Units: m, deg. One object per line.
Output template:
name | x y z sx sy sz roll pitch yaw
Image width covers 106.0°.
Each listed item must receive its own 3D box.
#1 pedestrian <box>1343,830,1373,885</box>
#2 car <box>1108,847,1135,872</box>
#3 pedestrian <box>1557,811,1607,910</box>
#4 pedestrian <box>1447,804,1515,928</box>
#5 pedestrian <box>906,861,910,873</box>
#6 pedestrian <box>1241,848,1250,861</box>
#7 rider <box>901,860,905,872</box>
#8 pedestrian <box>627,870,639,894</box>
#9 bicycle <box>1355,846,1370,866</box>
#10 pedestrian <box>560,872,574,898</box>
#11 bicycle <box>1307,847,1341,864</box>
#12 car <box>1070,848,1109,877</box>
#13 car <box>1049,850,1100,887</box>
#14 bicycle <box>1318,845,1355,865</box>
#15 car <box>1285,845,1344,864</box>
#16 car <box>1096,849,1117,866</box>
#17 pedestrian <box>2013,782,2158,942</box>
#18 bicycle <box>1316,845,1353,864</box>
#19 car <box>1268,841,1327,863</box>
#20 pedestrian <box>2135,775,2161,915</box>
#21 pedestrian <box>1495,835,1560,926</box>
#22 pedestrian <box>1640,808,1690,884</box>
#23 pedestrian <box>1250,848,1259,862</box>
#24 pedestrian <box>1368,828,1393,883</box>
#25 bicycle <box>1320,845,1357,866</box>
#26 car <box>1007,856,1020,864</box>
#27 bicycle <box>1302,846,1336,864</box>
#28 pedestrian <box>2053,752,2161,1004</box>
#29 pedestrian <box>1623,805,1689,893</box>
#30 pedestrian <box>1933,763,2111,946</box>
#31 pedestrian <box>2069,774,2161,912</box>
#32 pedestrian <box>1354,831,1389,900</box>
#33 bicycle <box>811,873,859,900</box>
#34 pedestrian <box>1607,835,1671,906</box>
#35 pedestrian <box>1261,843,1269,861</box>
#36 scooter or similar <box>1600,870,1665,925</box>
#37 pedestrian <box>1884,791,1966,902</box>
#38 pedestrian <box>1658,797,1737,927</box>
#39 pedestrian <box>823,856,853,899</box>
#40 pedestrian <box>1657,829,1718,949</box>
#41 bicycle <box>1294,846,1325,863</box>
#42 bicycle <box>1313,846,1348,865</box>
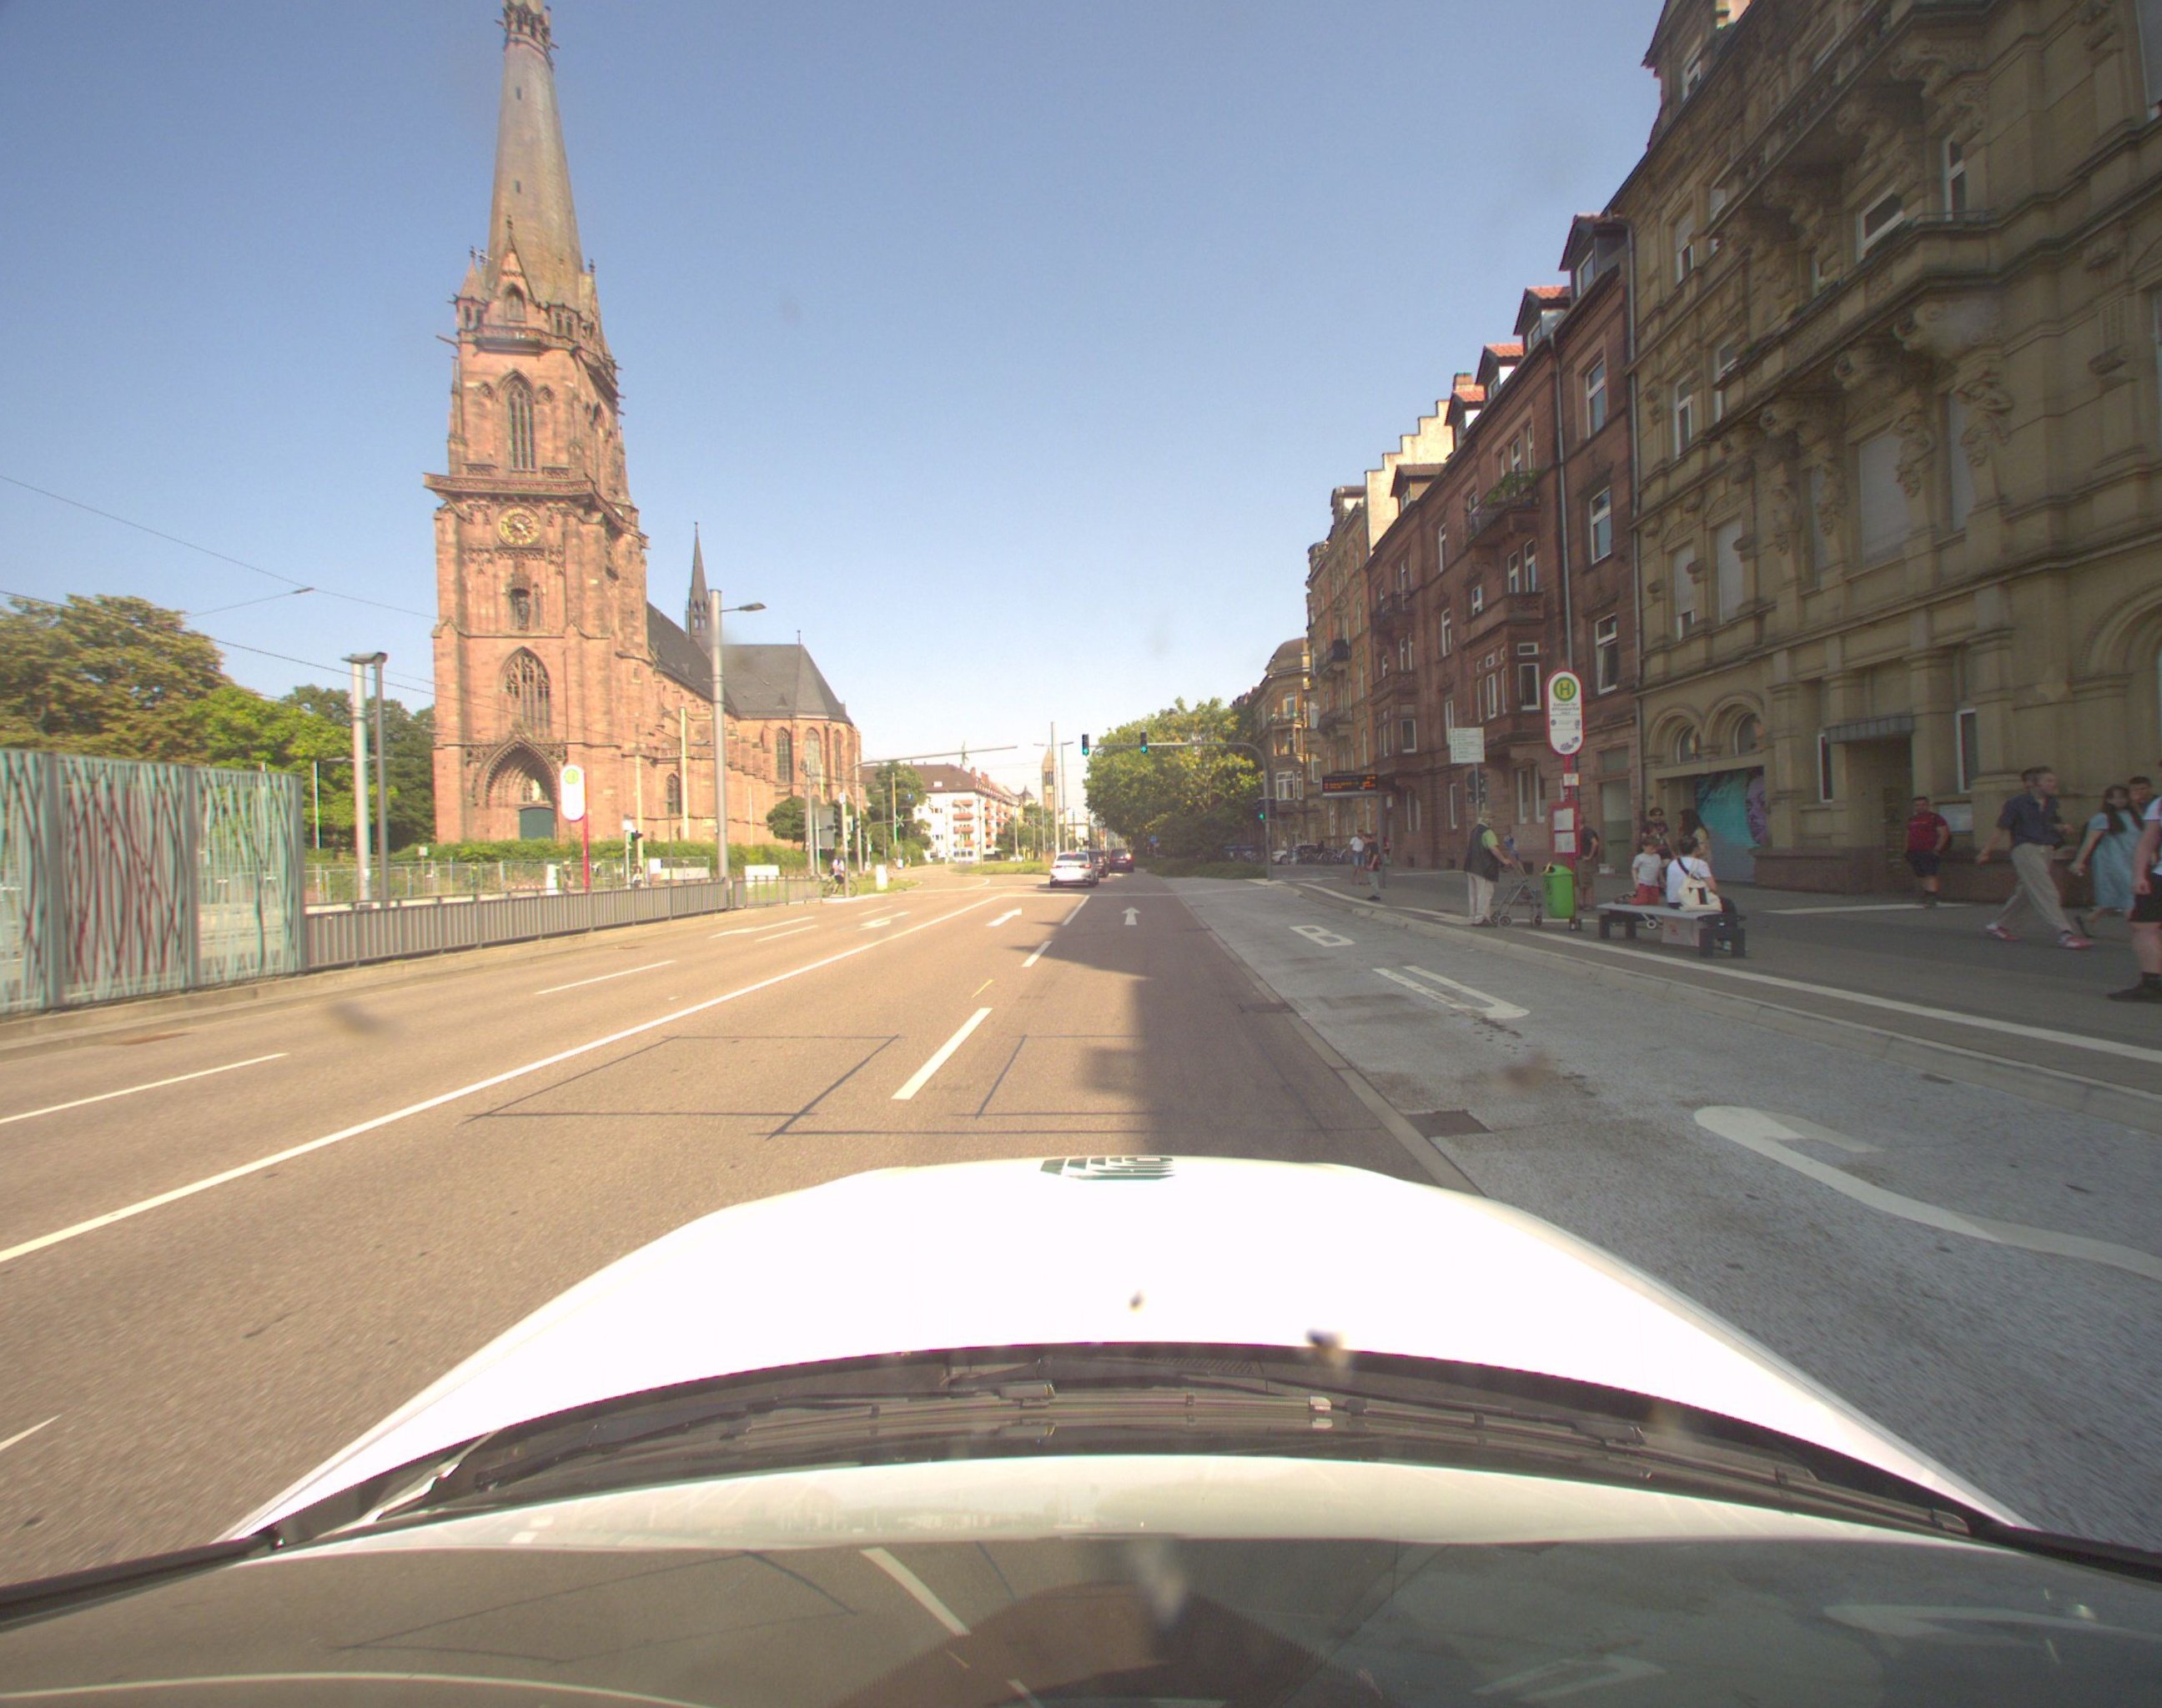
pedestrian | 8.617 0.111 25.391 0.687 1.664 0.620 -2 0 4
car | 2.899 0.363 57.844 1.823 1.621 4.362 -1 0 4
pedestrian | 9.043 0.118 14.707 0.340 1.732 0.805 -2 0 1
pedestrian | 5.850 0.169 11.946 0.563 1.729 0.745 -2 0 0
pedestrian | -22.945 1.689 108.030 0.303 1.518 0.341 -2 0 -1
pedestrian | 13.460 0.020 66.647 0.446 1.070 0.483 -2 0 -27
rider | -22.132 1.474 101.078 0.304 1.431 0.251 -3 0 22
pedestrian | -30.009 1.878 54.546 0.541 1.576 0.659 -2 0 -16
bicycle | 15.287 0.083 44.213 0.414 1.048 1.674 -3 0 9
pedestrian | -31.997 1.935 50.700 0.490 1.576 0.553 -2 0 3
bicycle | 14.813 0.093 49.696 1.923 0.950 0.499 -3 0 -2
car | 0.543 0.482 47.922 1.984 1.621 4.362 -1 0 4
car | -0.207 0.555 34.234 1.801 1.427 4.779 0 0 3
bicycle | 14.611 0.049 46.607 1.923 1.048 0.499 -3 0 -2
car | 17.187 0.064 60.033 3.925 1.222 1.547 -3 0 -1
car | 2.550 0.351 80.030 1.823 1.621 4.362 -1 0 4
pedestrian | 10.638 0.082 8.654 0.484 1.610 0.814 -2 0 5
bicycle | 14.693 0.033 47.239 1.923 1.048 0.499 -3 0 -2
car | 17.338 -0.132 65.245 4.168 1.563 1.999 -3 0 -1
pedestrian | 13.349 -0.116 9.764 0.601 1.692 0.587 -2 0 0
pedestrian | 6.499 0.376 11.872 0.563 1.277 0.597 -2 0 0
pedestrian | 13.724 -0.183 19.141 0.627 1.719 0.691 -2 0 3
pedestrian | 14.827 0.083 69.562 0.595 1.248 0.507 -3 0 3
pedestrian | 9.433 0.042 25.665 0.479 1.702 0.703 -2 0 0
bicycle | 14.485 0.084 45.793 1.923 1.048 0.499 -3 0 -2
car | -12.592 1.104 152.090 1.986 1.500 4.002 -3 0 2
bicycle | 14.877 0.084 50.972 1.923 1.048 0.527 -3 0 -2
pedestrian | 7.776 0.153 5.777 0.747 1.729 0.801 -2 0 0
pedestrian | 11.785 -0.098 16.720 0.698 1.724 0.898 -2 0 3
pedestrian | 9.925 0.004 8.645 0.614 1.804 1.073 -2 0 5
pedestrian | 13.336 -0.140 10.426 0.601 1.692 0.587 -2 0 0
pedestrian | 6.942 0.267 19.475 0.526 1.612 0.703 -2 0 0
bicycle | -9.885 1.292 32.783 1.752 0.978 0.479 -3 0 1
pedestrian | 6.657 0.191 9.735 0.302 0.820 0.603 -2 0 -4
pedestrian | 15.264 -0.172 67.598 0.442 1.506 0.487 -2 0 -2
scooter or similar | 7.907 0.621 11.696 0.563 0.741 0.514 -2 0 0
pedestrian | 13.033 -0.115 12.587 0.601 1.654 0.587 -2 0 0
pedestrian | 8.536 0.101 11.293 0.563 1.729 0.617 -2 0 0
pedestrian | -9.783 0.922 32.791 0.913 1.679 0.603 -3 0 2
pedestrian | 6.640 0.376 8.929 0.274 1.274 0.447 -2 0 -3
bicycle | 15.186 0.029 54.101 1.923 1.048 0.527 -3 0 -2
bicycle | 14.957 0.096 48.889 1.923 1.048 0.499 -3 0 -2
